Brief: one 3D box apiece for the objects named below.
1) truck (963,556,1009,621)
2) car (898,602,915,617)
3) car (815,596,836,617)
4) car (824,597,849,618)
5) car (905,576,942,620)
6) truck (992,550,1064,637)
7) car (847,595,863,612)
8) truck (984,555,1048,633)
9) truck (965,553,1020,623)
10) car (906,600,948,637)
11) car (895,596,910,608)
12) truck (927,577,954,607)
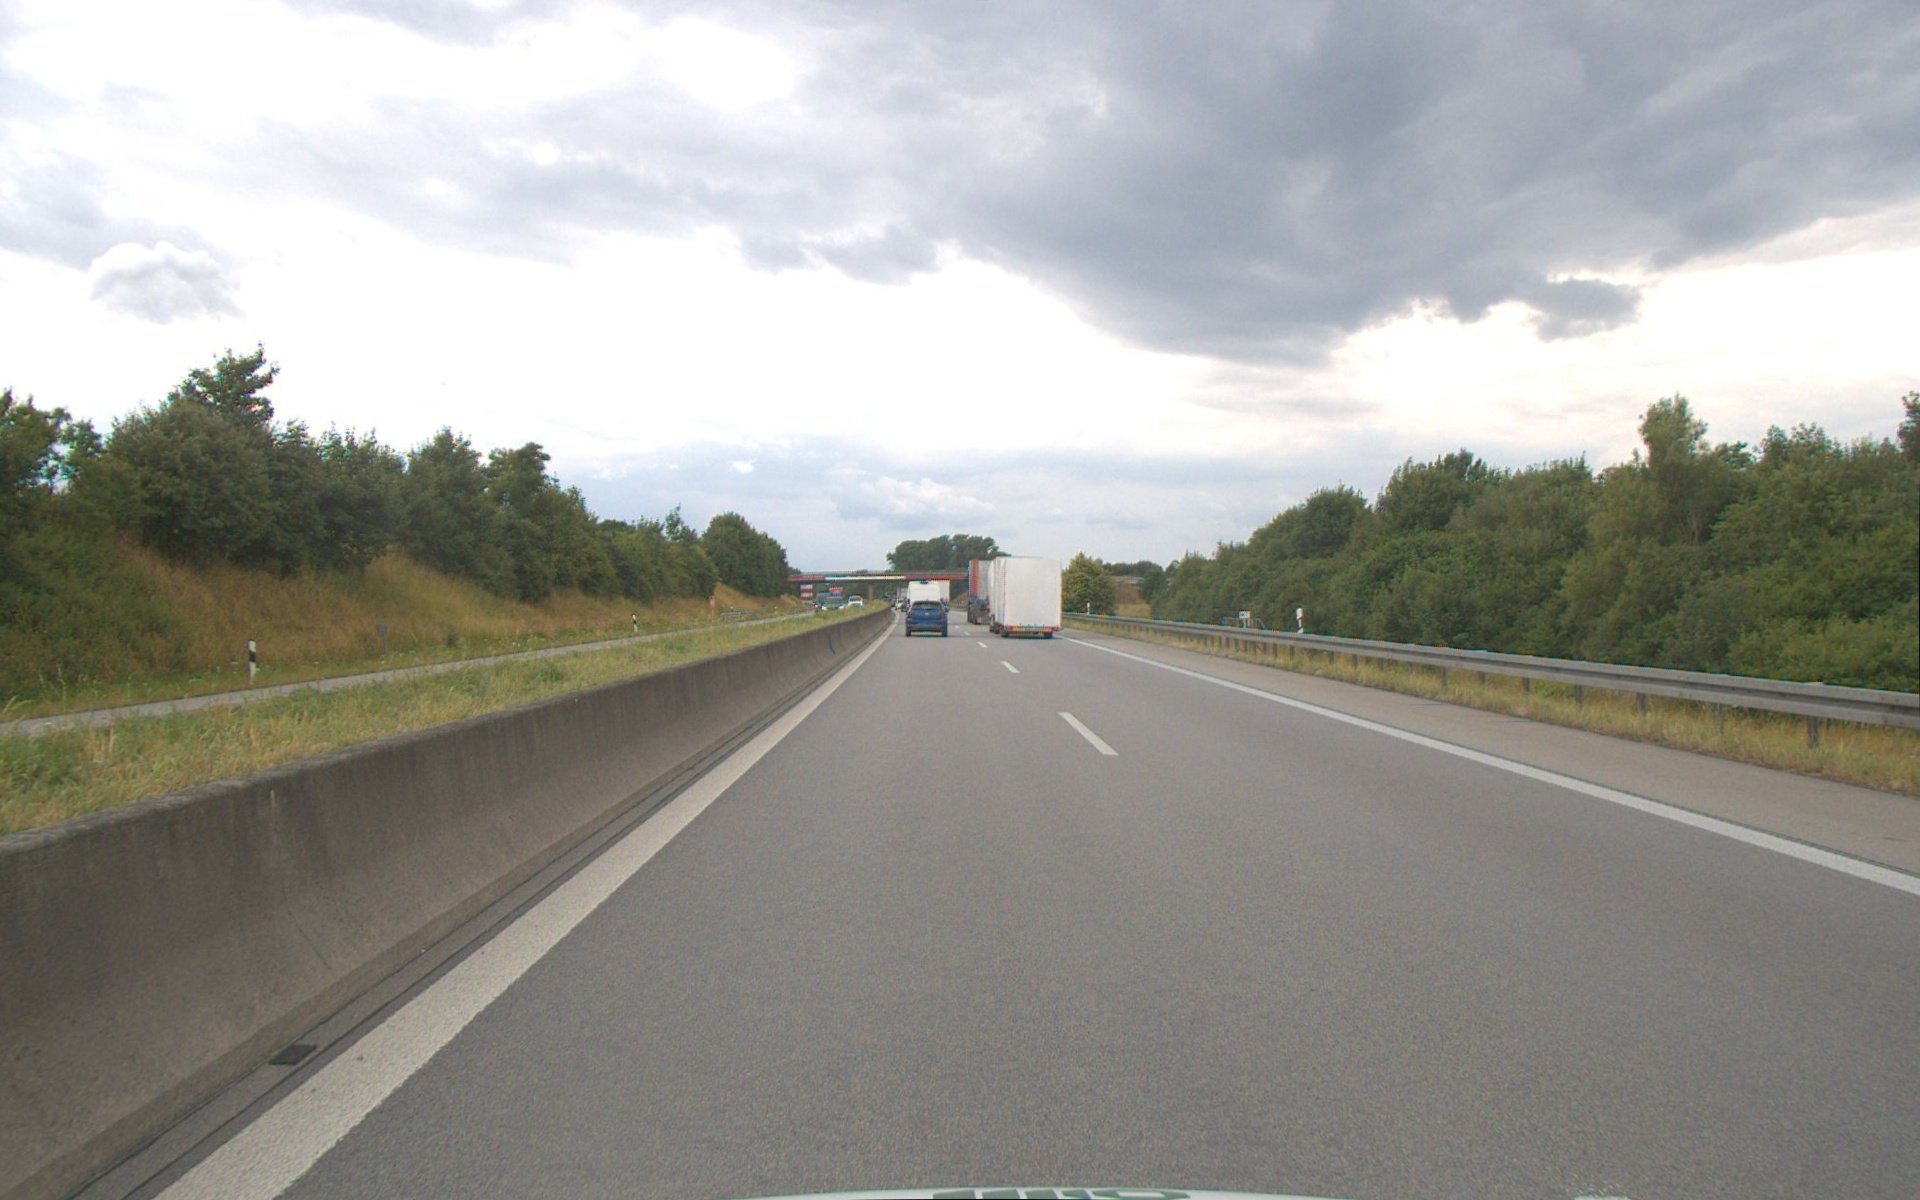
[{"bbox_3d":[1.644,-0.729,107.774,2.620,4.116,5.509,-1,0,-3],"label":"truck"},{"bbox_3d":[-6.347,1.101,196.206,1.895,1.672,4.902,0,0,0],"label":"car"},{"bbox_3d":[-16.675,0.763,205.563,2.126,2.508,6.720,-2,0,-2],"label":"car"},{"bbox_3d":[-10.546,0.642,141.420,1.880,1.723,4.595,-2,0,-1],"label":"car"},{"bbox_3d":[-2.230,-0.105,99.484,2.087,2.526,5.836,0,0,-3],"label":"car"},{"bbox_3d":[2.655,-0.238,66.405,2.366,3.278,7.141,0,0,-2],"label":"truck"},{"bbox_3d":[-13.348,0.413,211.133,1.939,2.049,5.128,0,0,-2],"label":"car"},{"bbox_3d":[2.440,-0.249,73.592,2.381,3.300,7.244,0,0,-2],"label":"truck"},{"bbox_3d":[1.912,-0.741,102.419,2.620,4.116,11.101,-1,0,-3],"label":"truck"},{"bbox_3d":[-1.325,0.713,66.603,1.630,1.432,3.648,0,0,-1],"label":"car"},{"bbox_3d":[-8.028,0.296,229.448,1.954,1.713,3.997,0,0,-3],"label":"car"},{"bbox_3d":[-2.568,-0.994,214.822,3.049,3.754,9.316,-2,0,-3],"label":"truck"}]
